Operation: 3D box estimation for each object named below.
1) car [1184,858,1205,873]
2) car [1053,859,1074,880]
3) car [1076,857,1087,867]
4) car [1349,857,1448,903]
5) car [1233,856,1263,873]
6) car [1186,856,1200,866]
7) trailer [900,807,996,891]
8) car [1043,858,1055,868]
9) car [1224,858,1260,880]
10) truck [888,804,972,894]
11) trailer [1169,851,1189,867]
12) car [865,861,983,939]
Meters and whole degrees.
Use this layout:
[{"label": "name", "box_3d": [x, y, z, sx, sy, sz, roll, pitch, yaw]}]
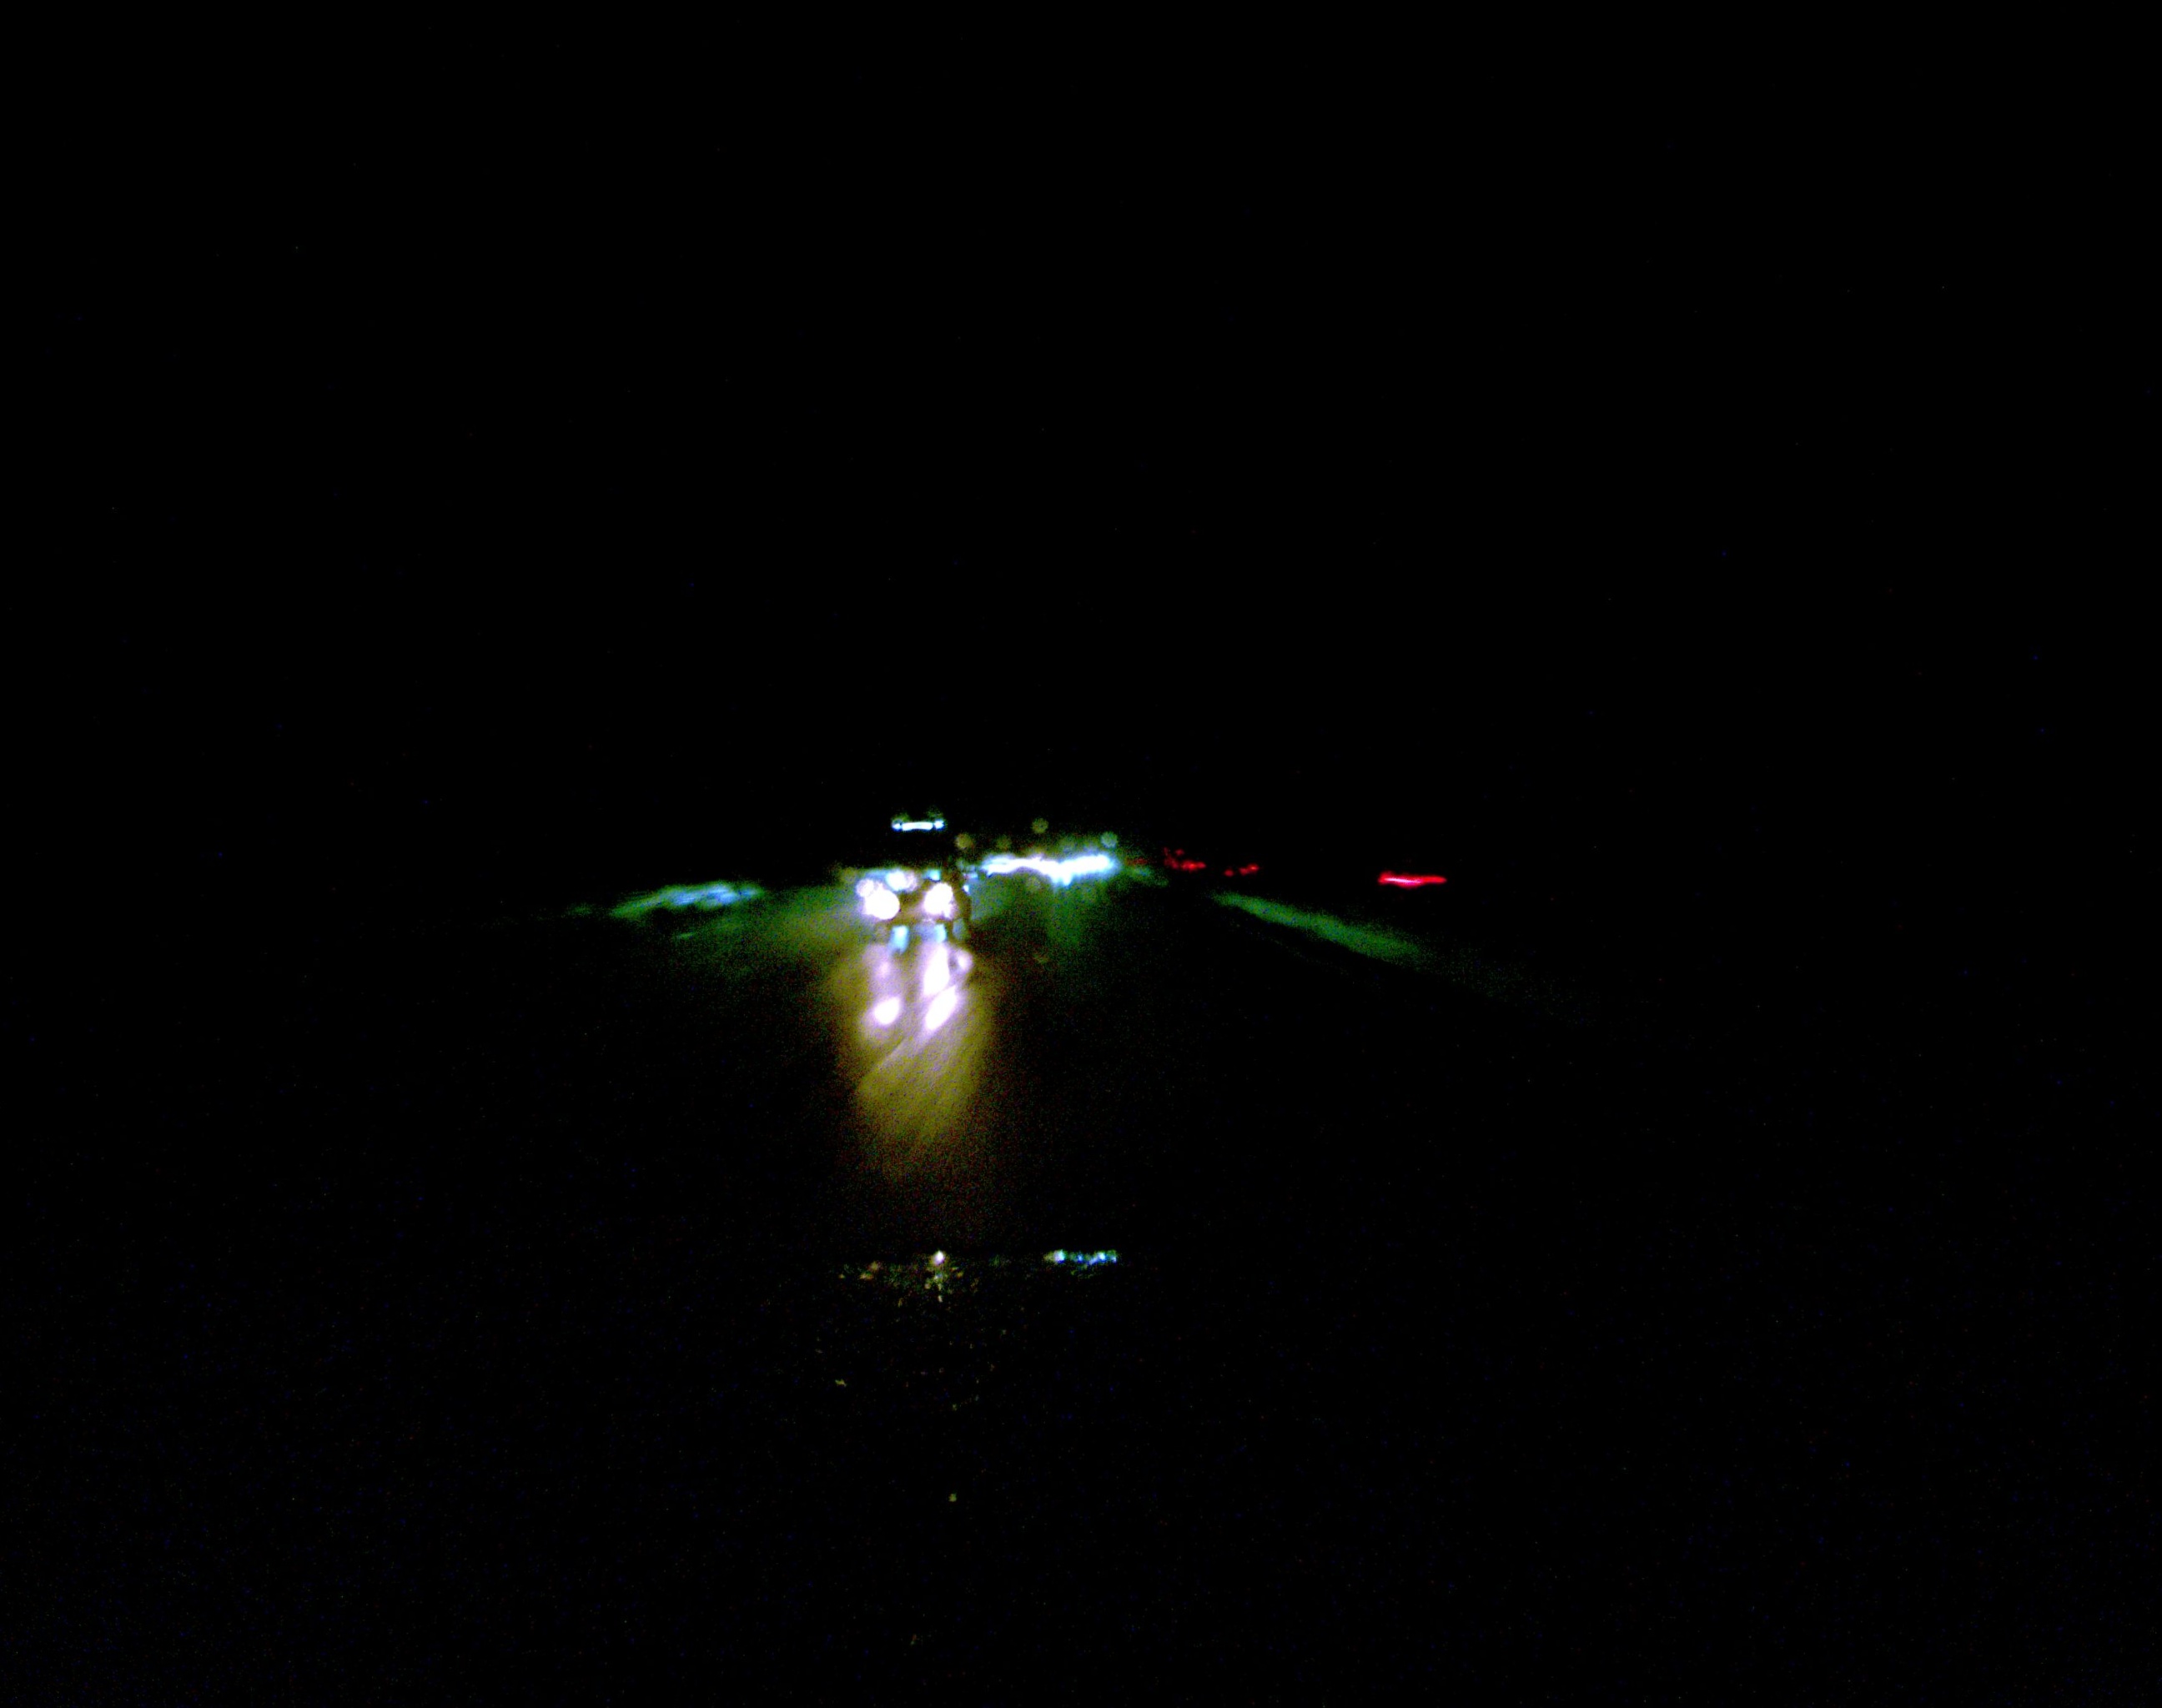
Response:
[{"label": "car", "box_3d": [14.713, 1.502, 98.461, 1.998, 1.750, 4.656, -3, -1, 0]}, {"label": "car", "box_3d": [-1.822, 1.631, 79.270, 1.999, 2.001, 4.000, -2, -1, -1]}, {"label": "car", "box_3d": [0.119, 1.462, 134.652, 1.883, 1.653, 4.001, -3, -2, 0]}, {"label": "car", "box_3d": [13.412, 1.082, 32.485, 1.999, 1.750, 4.960, -2, -1, -1]}, {"label": "car", "box_3d": [18.467, 1.180, 84.211, 1.999, 1.804, 5.094, -2, -1, -1]}, {"label": "car", "box_3d": [19.776, 1.167, 133.962, 1.921, 1.674, 4.506, 0, 1, 2]}, {"label": "trailer", "box_3d": [-7.265, -0.159, 44.134, 2.910, 4.084, 14.489, 0, -1, 0]}, {"label": "car", "box_3d": [-4.901, 1.456, 116.989, 1.644, 1.494, 4.013, -1, -1, -1]}, {"label": "car", "box_3d": [13.647, 1.284, 64.613, 1.999, 1.750, 4.000, -2, -1, -1]}, {"label": "truck", "box_3d": [-7.339, -0.209, 37.683, 2.910, 4.084, 6.031, 0, 0, 0]}, {"label": "trailer", "box_3d": [20.958, 1.109, 163.778, 3.082, 3.276, 13.158, 0, -1, 2]}, {"label": "car", "box_3d": [-3.588, 0.982, 18.199, 1.745, 1.566, 4.494, -2, 0, 2]}]
